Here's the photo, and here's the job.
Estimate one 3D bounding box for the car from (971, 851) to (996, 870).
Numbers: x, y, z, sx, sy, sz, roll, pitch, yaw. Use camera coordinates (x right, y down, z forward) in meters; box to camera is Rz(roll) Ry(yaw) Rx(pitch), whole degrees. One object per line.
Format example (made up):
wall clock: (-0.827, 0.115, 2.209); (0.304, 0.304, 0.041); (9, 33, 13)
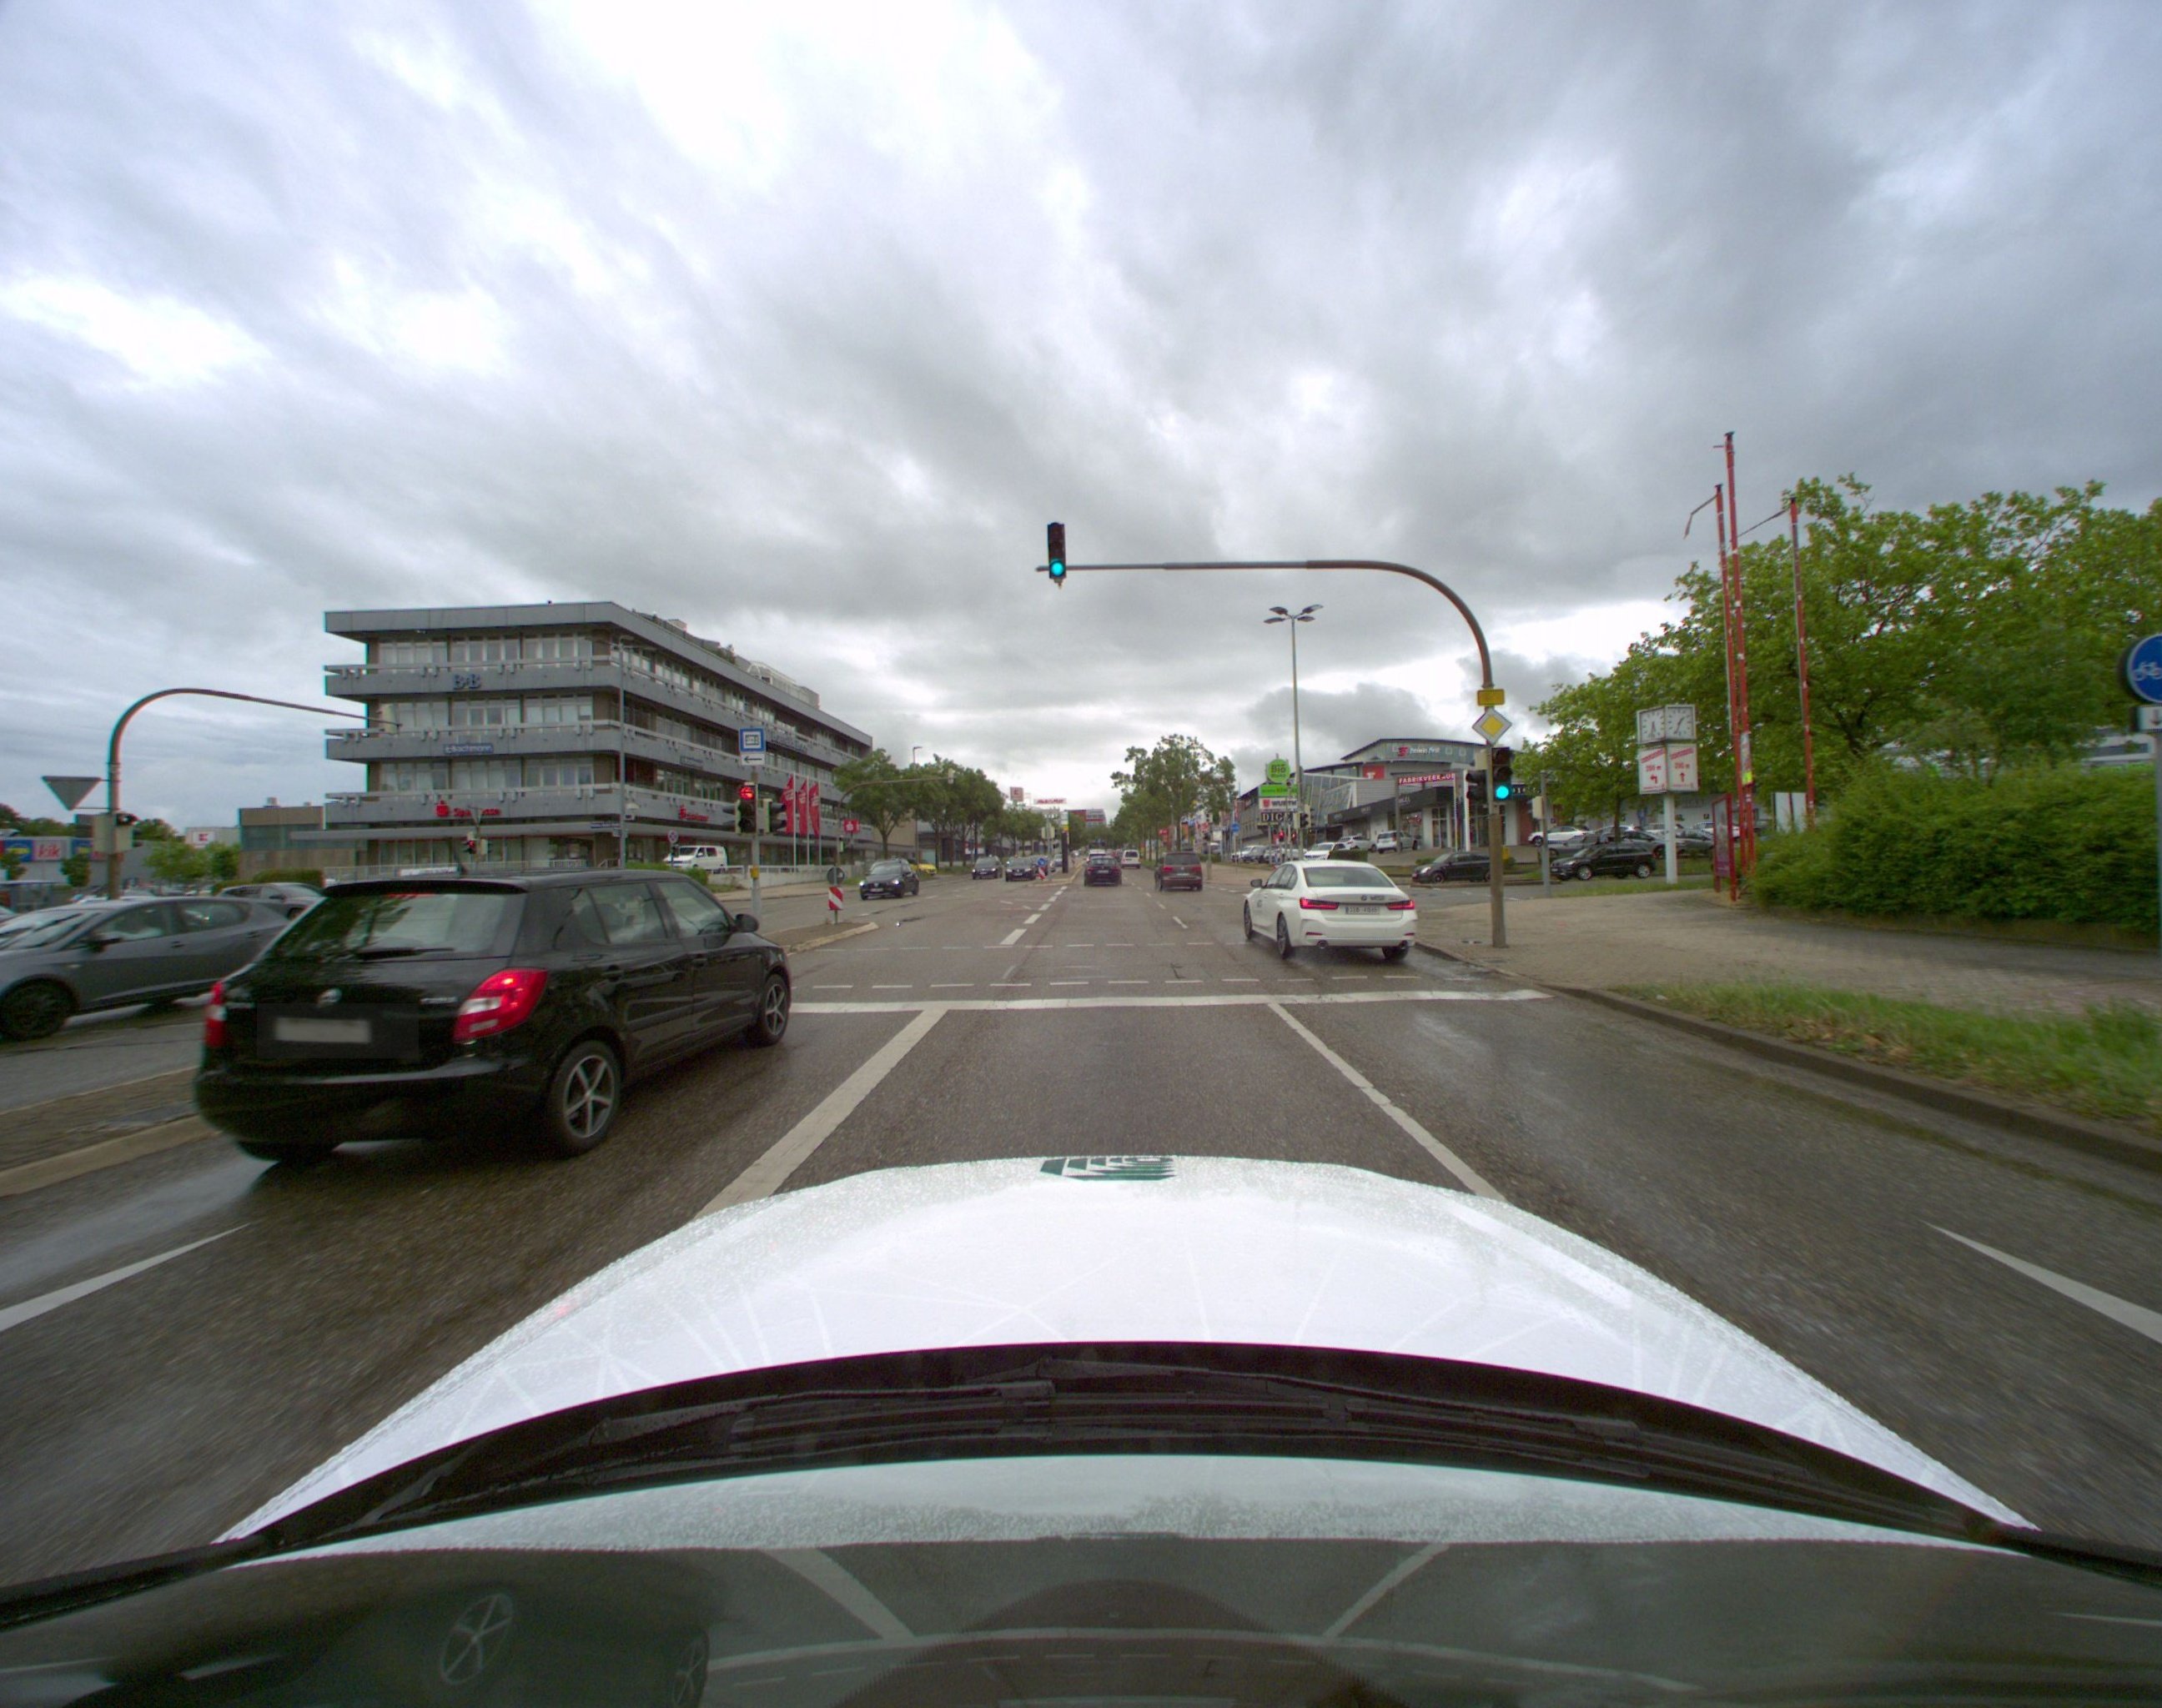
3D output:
car: (-10.350, 0.719, 87.009); (1.985, 2.014, 4.002); (0, -1, 3)

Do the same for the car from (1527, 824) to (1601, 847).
car: (33.729, -1.285, 56.969); (1.747, 1.481, 4.106); (-2, 0, -39)

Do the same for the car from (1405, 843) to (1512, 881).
car: (17.065, 0.376, 36.948); (3.964, 1.489, 1.818); (-3, -1, 1)

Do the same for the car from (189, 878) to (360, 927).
car: (-28.412, 1.697, 28.775); (4.133, 1.489, 1.879); (-2, 0, 1)

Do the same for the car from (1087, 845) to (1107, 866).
car: (1.692, 0.176, 83.009); (1.986, 2.014, 4.001); (0, -1, 2)

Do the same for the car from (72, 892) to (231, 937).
car: (-33.950, 2.184, 29.816); (3.673, 1.399, 1.880); (-2, 0, 1)

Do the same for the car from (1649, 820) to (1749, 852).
car: (35.231, -0.974, 46.535); (2.009, 1.579, 4.179); (2, -2, -38)

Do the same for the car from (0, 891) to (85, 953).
car: (-29.646, 1.844, 21.705); (3.964, 1.489, 1.818); (-2, 0, 1)

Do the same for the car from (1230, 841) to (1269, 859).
car: (16.290, -0.365, 78.647); (3.616, 1.536, 1.776); (-3, 0, -38)

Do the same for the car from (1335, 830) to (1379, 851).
car: (25.057, -1.194, 73.889); (4.174, 1.771, 1.718); (-2, 0, -38)

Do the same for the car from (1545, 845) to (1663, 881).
car: (23.248, 0.404, 36.320); (4.118, 1.548, 1.741); (0, -1, 7)

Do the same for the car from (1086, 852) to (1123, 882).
car: (1.182, 0.642, 40.898); (1.775, 1.398, 4.001); (-1, 0, 1)

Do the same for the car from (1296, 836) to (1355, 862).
car: (15.952, -0.324, 53.092); (1.908, 1.576, 4.314); (-2, 0, 43)

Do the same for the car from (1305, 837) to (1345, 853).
car: (25.215, -0.885, 84.147); (4.174, 1.468, 1.811); (-3, 0, -36)

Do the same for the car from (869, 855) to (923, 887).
car: (-10.844, 0.972, 48.094); (1.904, 1.727, 4.885); (-2, 0, 1)

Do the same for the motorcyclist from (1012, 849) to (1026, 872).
motorcyclist: (-4.278, 0.436, 56.015); (0.804, 1.559, 1.267); (-1, 0, 0)

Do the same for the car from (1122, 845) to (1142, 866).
car: (4.885, 0.151, 78.496); (1.775, 1.866, 4.001); (-2, 0, 1)

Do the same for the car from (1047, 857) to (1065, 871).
car: (-2.932, 1.168, 95.367); (1.717, 1.398, 4.790); (-4, 0, 1)

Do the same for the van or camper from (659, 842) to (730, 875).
van or camper: (-24.255, 0.301, 51.321); (1.986, 1.967, 4.790); (0, -1, 2)

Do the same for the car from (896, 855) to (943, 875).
car: (-14.438, 0.981, 72.708); (3.948, 1.552, 1.912); (-2, 0, 36)

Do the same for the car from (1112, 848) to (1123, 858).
car: (6.099, -0.144, 135.713); (1.688, 1.443, 3.993); (-2, 3, 2)

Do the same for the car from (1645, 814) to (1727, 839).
car: (41.063, -1.868, 55.347); (1.747, 1.481, 4.106); (-2, 0, -39)

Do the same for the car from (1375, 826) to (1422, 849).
car: (25.060, -1.316, 64.212); (4.176, 1.771, 1.717); (-2, 0, -41)

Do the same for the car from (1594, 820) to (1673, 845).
car: (37.847, -1.468, 55.855); (1.745, 1.481, 4.109); (-2, 0, -35)

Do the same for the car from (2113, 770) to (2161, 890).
car: (14.966, -0.356, 9.330); (3.969, 1.442, 1.657); (-2, 0, 3)

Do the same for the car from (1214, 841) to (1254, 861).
car: (16.802, -0.322, 89.348); (4.094, 2.105, 1.801); (-1, 0, 3)

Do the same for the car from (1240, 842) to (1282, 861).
car: (15.685, -0.255, 70.954); (3.616, 1.536, 1.625); (-2, 0, -38)

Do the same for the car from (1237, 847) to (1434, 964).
car: (3.821, 0.692, 13.106); (1.795, 1.544, 4.620); (0, 0, 1)

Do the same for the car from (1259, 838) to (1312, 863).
car: (16.374, -0.290, 65.188); (4.047, 1.662, 1.960); (-4, 1, -38)

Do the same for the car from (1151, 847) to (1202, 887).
car: (3.934, 0.503, 34.070); (1.794, 1.587, 4.453); (0, 0, 2)

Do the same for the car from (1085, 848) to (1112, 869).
car: (1.231, 0.287, 58.011); (1.677, 1.377, 3.997); (-2, 0, -2)

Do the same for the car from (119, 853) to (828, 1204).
car: (-3.322, 0.774, 5.632); (1.707, 1.489, 4.079); (-2, 0, 2)

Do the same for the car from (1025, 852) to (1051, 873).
car: (-3.184, 0.630, 61.105); (1.740, 1.489, 4.826); (-2, 0, -2)

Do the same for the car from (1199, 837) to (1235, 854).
car: (16.745, -1.096, 100.452); (4.093, 1.904, 1.801); (-2, 0, 3)

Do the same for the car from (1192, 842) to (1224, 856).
car: (16.799, -0.672, 107.750); (4.088, 1.703, 1.803); (-1, 0, 7)

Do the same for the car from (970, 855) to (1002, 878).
car: (-6.939, 0.884, 59.796); (1.905, 1.608, 4.360); (-2, 0, -2)

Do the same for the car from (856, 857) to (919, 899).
car: (-8.080, 0.954, 34.332); (1.706, 1.580, 3.997); (-2, 0, -2)

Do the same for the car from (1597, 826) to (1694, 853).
car: (32.095, -0.784, 46.390); (1.992, 1.380, 4.107); (2, -2, -38)

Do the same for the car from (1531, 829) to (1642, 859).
car: (28.695, -0.560, 46.347); (2.011, 1.486, 4.948); (-2, 0, -43)

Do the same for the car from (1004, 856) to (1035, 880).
car: (-3.830, 0.873, 51.392); (1.677, 1.377, 3.997); (-2, 0, -2)

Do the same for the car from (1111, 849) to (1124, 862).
car: (4.743, 0.203, 106.220); (1.678, 1.684, 3.405); (0, -1, 3)

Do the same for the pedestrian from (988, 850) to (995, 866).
pedestrian: (-12.819, 0.614, 116.761); (0.856, 2.218, 0.846); (-1, 0, -2)

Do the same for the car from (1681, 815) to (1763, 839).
car: (44.174, -1.831, 56.200); (1.747, 1.481, 4.106); (-2, 0, -39)

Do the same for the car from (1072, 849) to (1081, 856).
car: (-1.093, -0.307, 188.302); (1.936, 1.448, 4.001); (-1, 0, 1)
